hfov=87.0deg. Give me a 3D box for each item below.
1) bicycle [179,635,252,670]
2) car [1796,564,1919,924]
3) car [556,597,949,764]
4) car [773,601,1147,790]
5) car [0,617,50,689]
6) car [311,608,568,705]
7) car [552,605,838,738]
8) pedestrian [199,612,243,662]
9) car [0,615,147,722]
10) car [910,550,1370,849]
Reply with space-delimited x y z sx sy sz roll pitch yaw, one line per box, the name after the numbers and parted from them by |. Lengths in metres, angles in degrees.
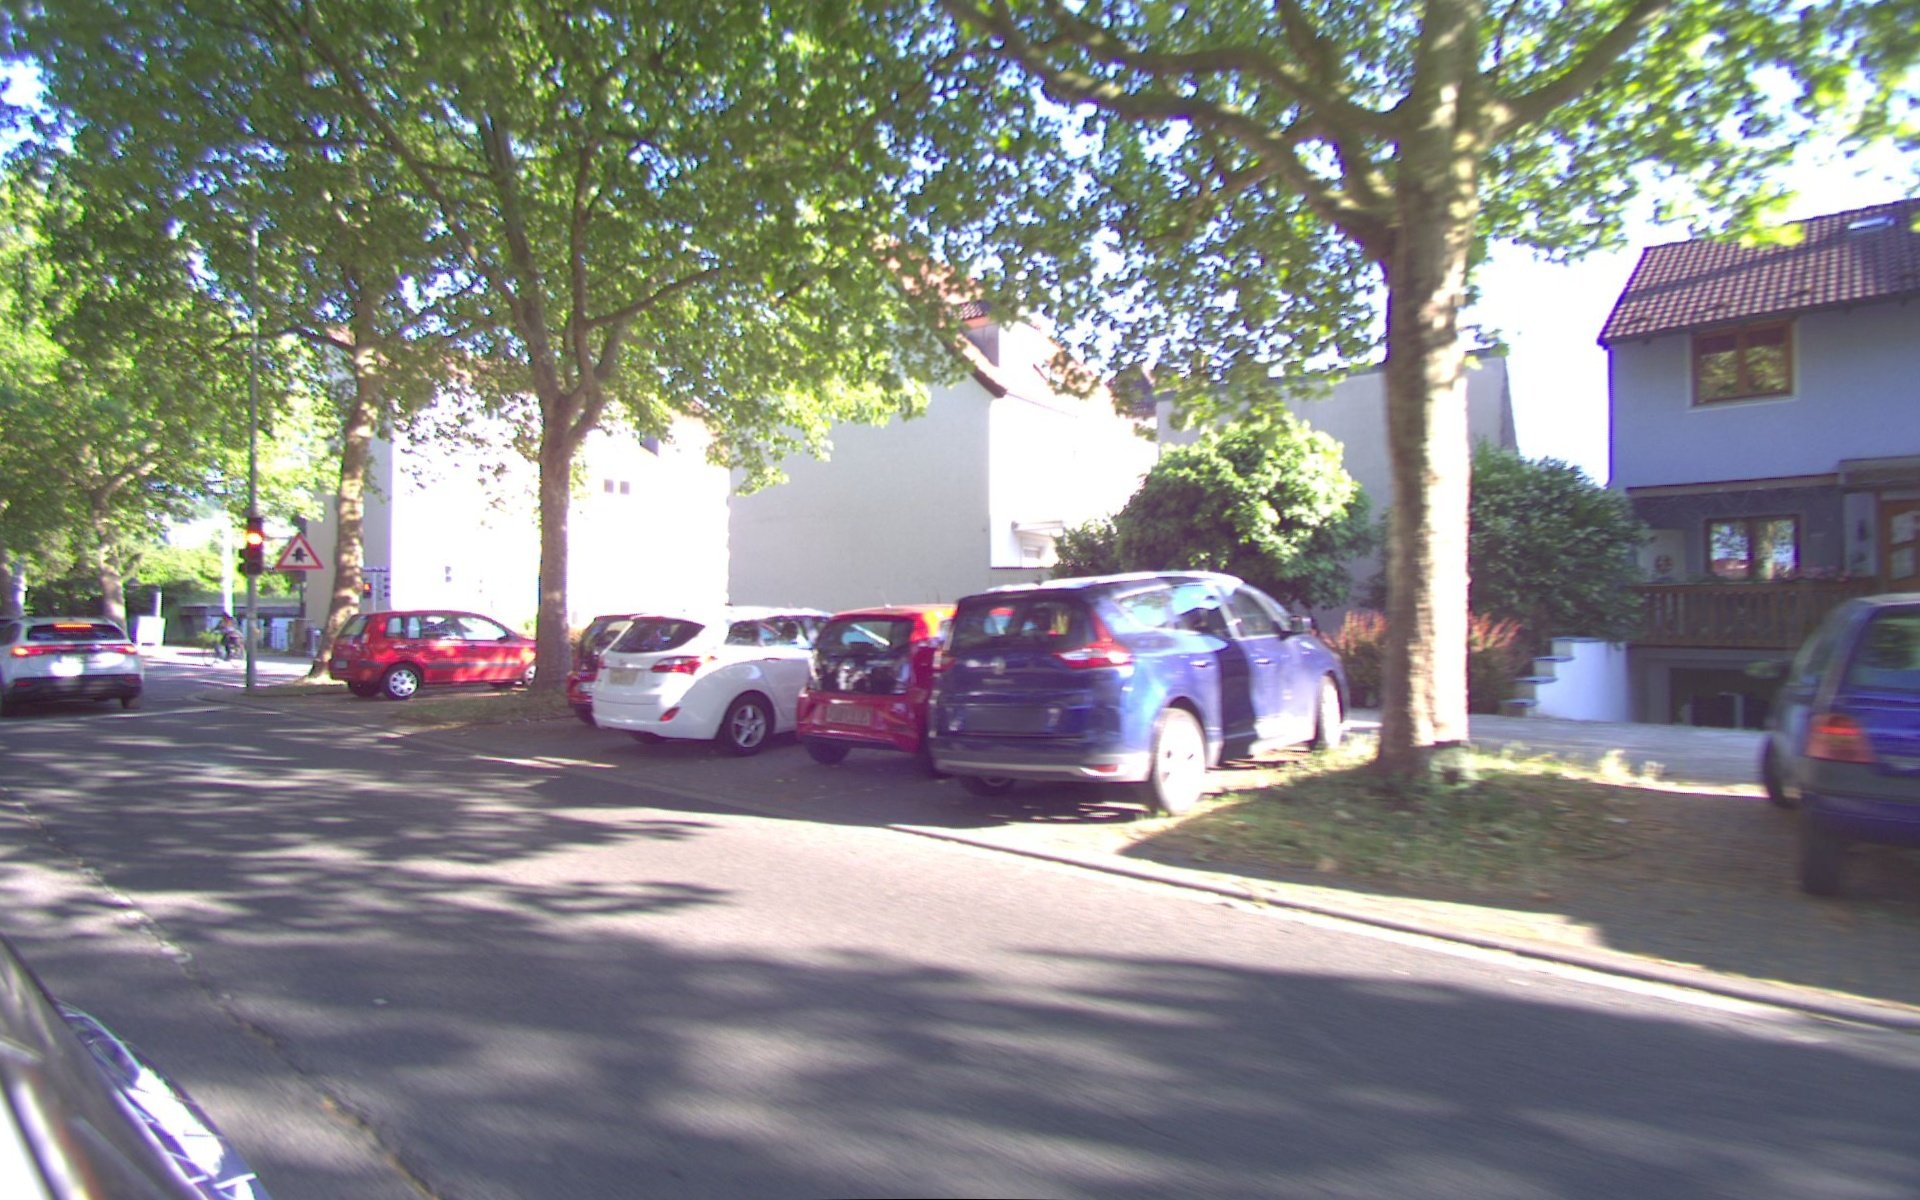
-23.749 1.672 32.286 2.129 1.049 0.509 1 -1 10 | bicycle
5.643 0.580 5.287 1.723 1.528 3.480 -1 0 36 | car
-2.144 0.739 11.414 1.873 1.512 4.121 -1 0 38 | car
0.157 0.782 10.042 1.753 1.495 3.720 -1 -1 40 | car
-21.425 1.099 21.963 4.061 1.475 1.710 0 -1 37 | car
-9.286 0.921 18.284 1.829 1.546 3.729 -1 -1 38 | car
-3.399 0.833 13.386 1.693 1.491 3.307 -1 0 38 | car
-23.600 1.188 32.329 1.022 1.543 0.509 2 -1 9 | pedestrian
-14.681 1.004 16.367 4.091 1.512 1.699 -1 -1 41 | car
1.643 0.595 8.017 1.830 1.729 4.050 -1 -1 40 | car
